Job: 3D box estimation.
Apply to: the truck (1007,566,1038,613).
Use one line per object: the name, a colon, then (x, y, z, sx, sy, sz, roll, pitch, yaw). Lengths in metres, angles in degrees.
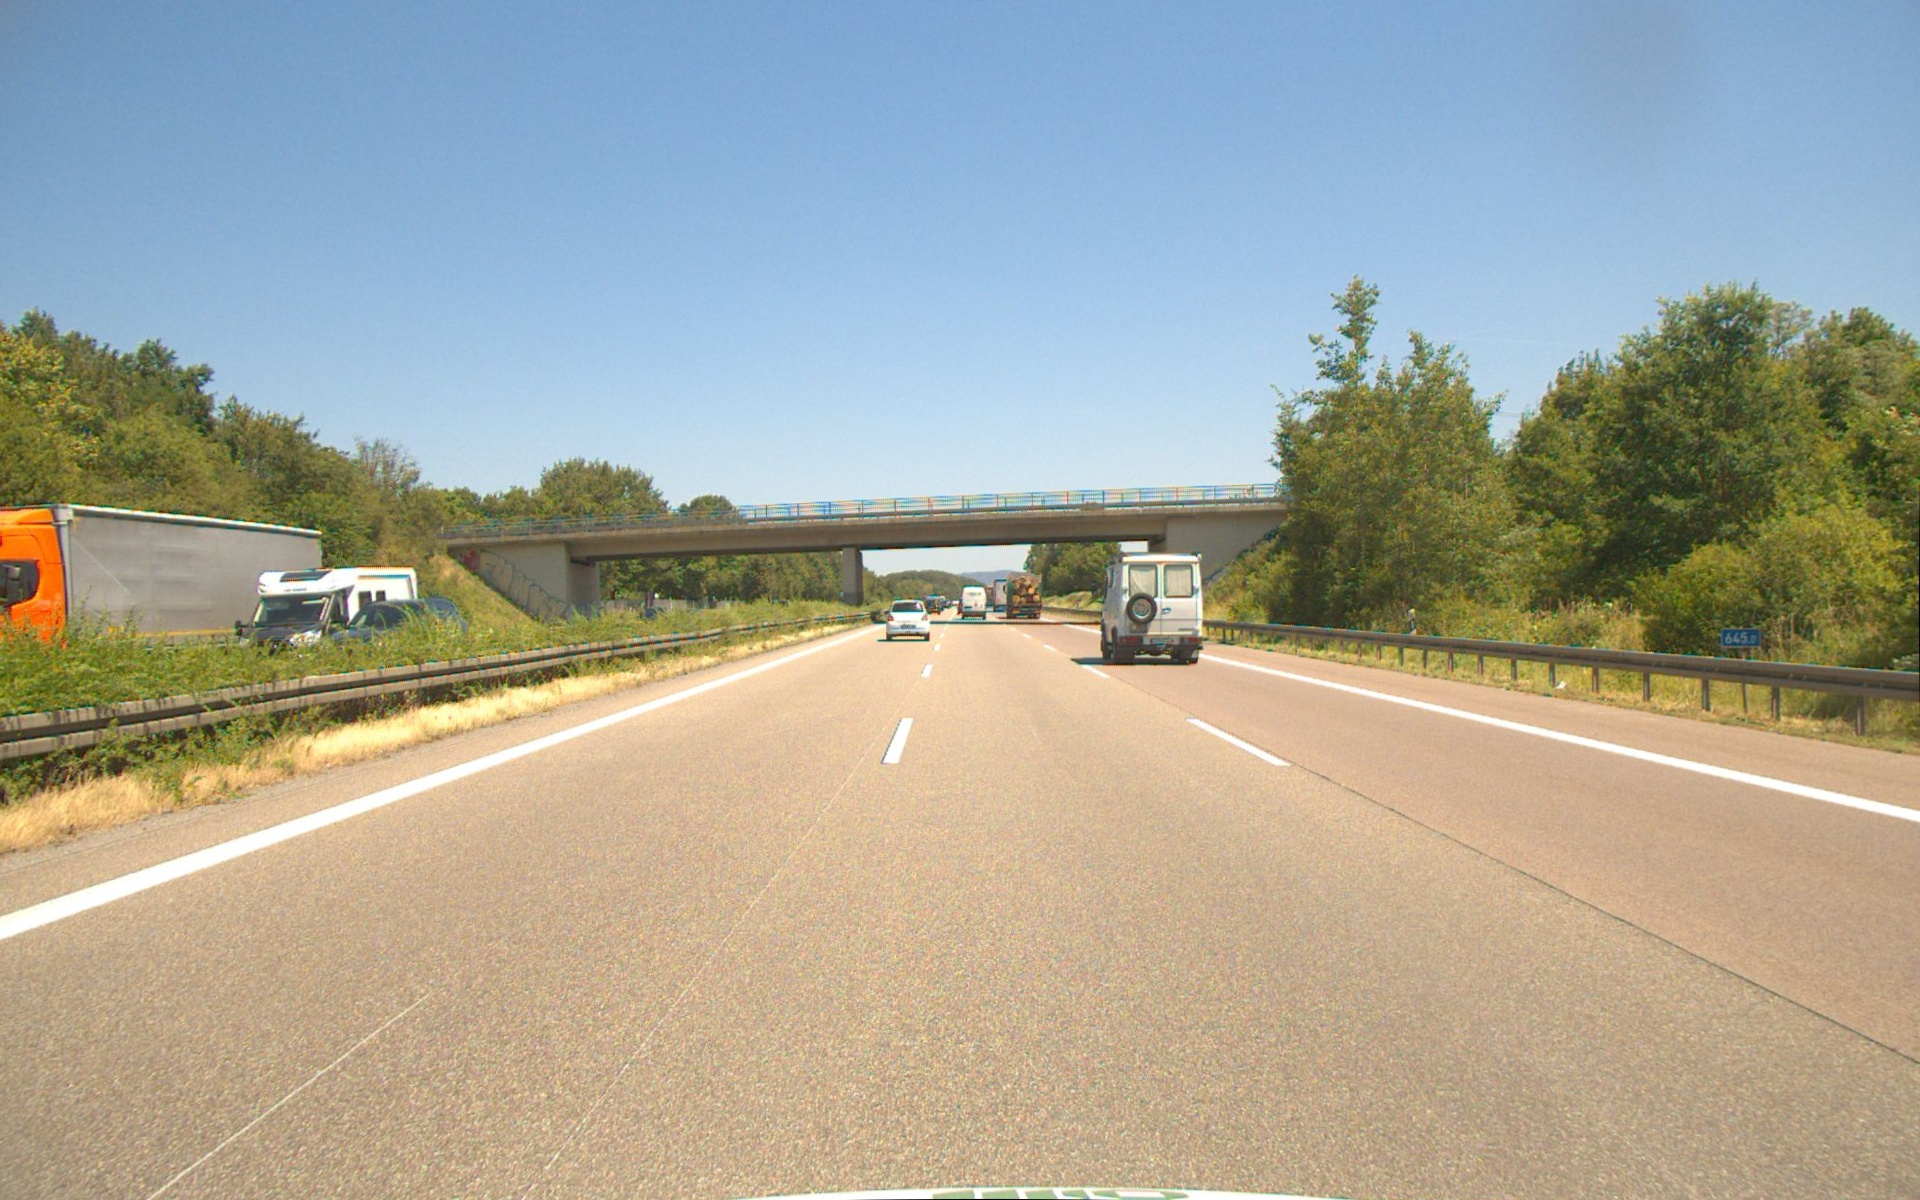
truck: (5.512, -0.906, 147.128, 2.615, 4.064, 6.636, 0, 0, 1)

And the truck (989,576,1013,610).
truck: (5.401, -0.856, 218.749, 3.015, 4.283, 16.845, 1, 0, 1)

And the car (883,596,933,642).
car: (-1.967, 0.700, 63.348, 1.819, 1.681, 3.999, 1, 0, -1)

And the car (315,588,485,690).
car: (-11.584, 0.761, 34.620, 1.835, 1.940, 5.189, 1, 0, -1)

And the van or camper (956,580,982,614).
van or camper: (0.714, -0.253, 133.166, 2.016, 2.668, 5.985, 0, 0, 1)

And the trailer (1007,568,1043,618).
trailer: (5.426, -0.583, 140.134, 2.598, 4.028, 13.636, 0, 0, 1)

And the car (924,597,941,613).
car: (-2.864, 0.552, 173.792, 1.819, 1.681, 3.999, 0, 0, -1)

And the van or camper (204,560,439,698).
van or camper: (-15.425, 0.670, 40.672, 2.559, 3.018, 7.859, 1, 0, 1)

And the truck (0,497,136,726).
truck: (-19.528, 0.205, 33.422, 3.073, 4.305, 5.176, 1, 0, 0)

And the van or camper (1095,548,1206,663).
van or camper: (4.793, 0.144, 42.555, 2.070, 2.750, 6.366, 0, 0, -1)

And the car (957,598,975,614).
car: (0.602, 0.600, 171.593, 1.819, 1.681, 3.999, 0, 0, -1)

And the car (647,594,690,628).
car: (-18.416, 0.675, 104.646, 1.952, 2.049, 4.001, -1, 0, 1)

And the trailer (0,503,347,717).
trailer: (-19.457, 0.226, 40.786, 3.080, 4.323, 14.479, 1, 0, 1)
